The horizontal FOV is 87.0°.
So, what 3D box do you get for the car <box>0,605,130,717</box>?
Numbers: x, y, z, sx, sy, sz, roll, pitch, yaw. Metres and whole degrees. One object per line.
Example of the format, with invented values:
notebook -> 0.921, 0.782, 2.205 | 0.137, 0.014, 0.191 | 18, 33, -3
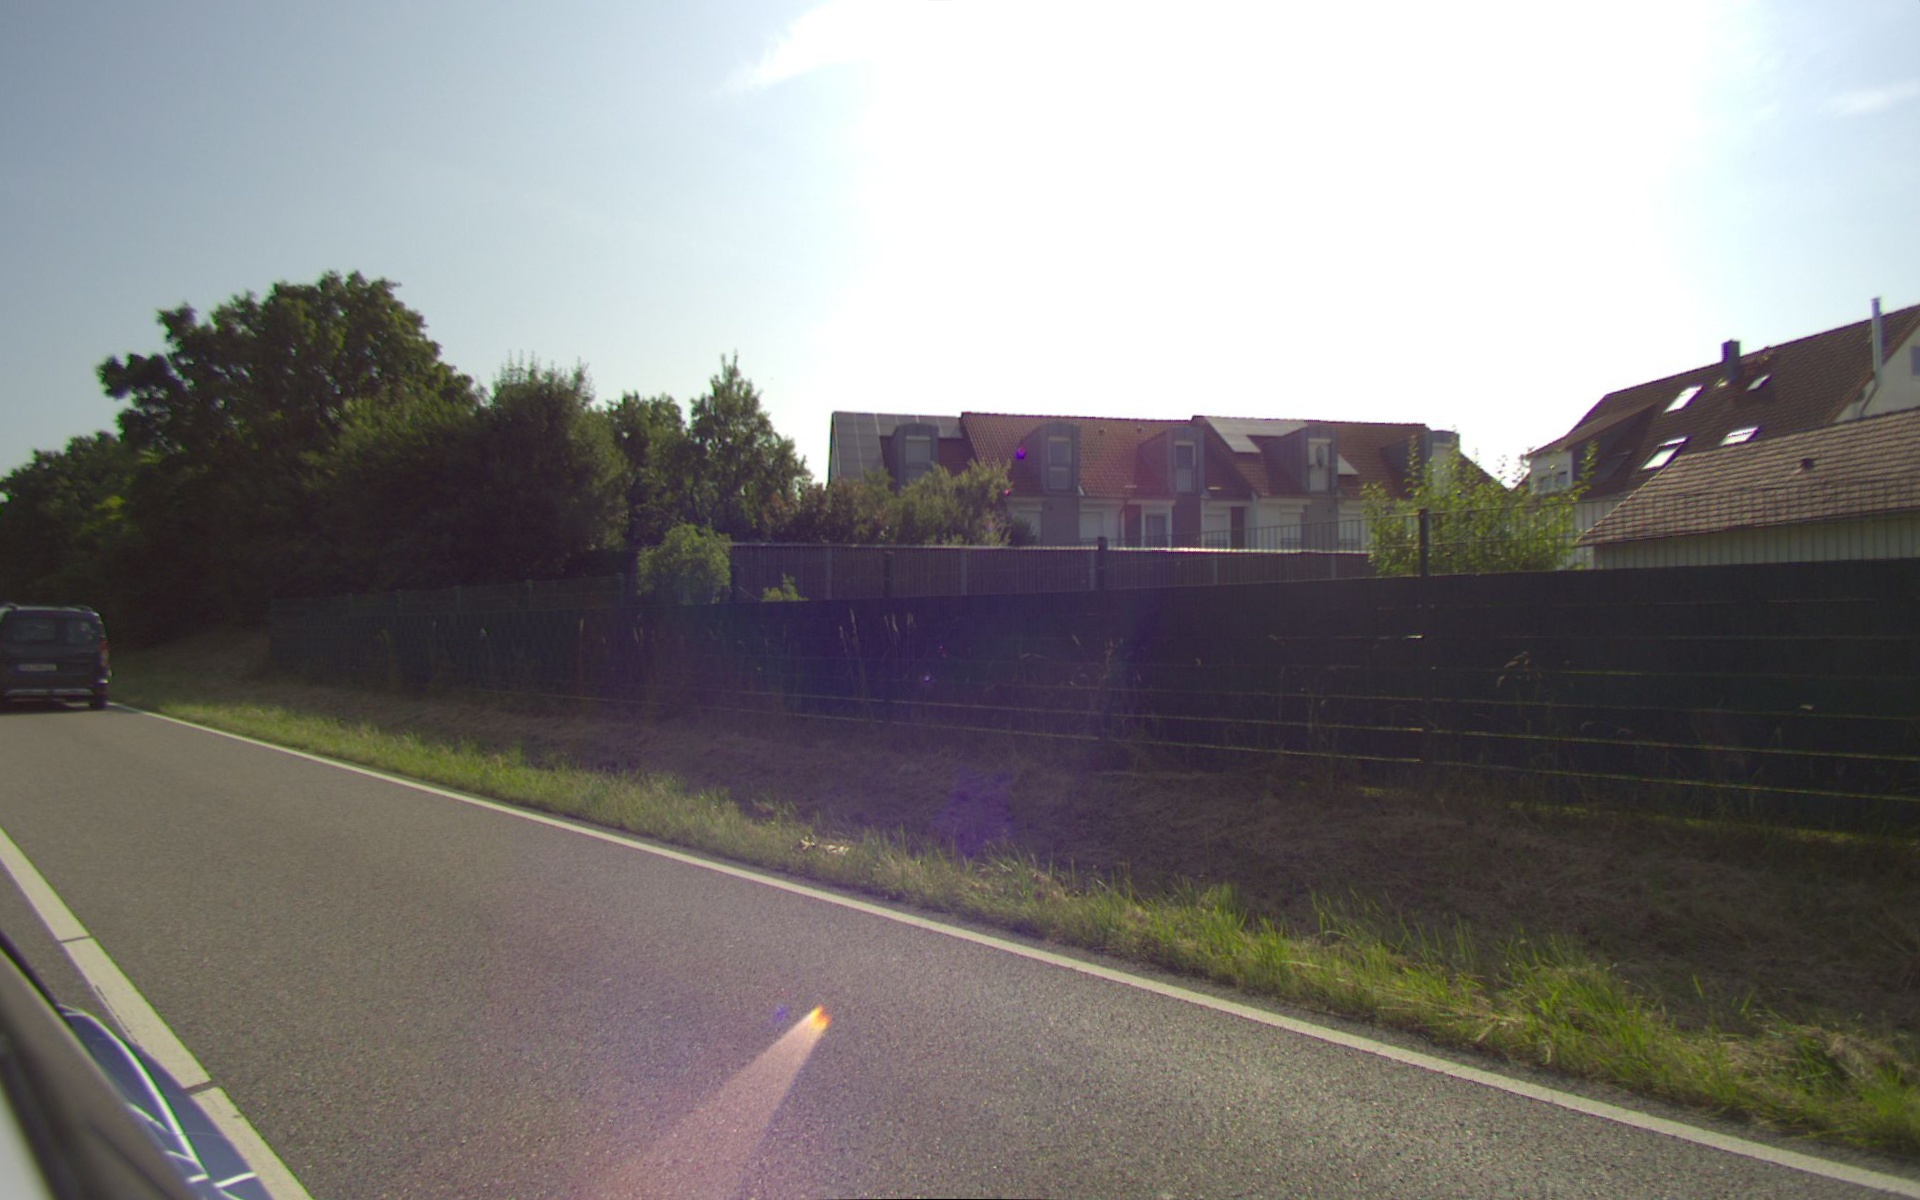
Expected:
car -> -16.896, 1.080, 18.501 | 4.240, 1.831, 1.919 | -2, -4, 41
